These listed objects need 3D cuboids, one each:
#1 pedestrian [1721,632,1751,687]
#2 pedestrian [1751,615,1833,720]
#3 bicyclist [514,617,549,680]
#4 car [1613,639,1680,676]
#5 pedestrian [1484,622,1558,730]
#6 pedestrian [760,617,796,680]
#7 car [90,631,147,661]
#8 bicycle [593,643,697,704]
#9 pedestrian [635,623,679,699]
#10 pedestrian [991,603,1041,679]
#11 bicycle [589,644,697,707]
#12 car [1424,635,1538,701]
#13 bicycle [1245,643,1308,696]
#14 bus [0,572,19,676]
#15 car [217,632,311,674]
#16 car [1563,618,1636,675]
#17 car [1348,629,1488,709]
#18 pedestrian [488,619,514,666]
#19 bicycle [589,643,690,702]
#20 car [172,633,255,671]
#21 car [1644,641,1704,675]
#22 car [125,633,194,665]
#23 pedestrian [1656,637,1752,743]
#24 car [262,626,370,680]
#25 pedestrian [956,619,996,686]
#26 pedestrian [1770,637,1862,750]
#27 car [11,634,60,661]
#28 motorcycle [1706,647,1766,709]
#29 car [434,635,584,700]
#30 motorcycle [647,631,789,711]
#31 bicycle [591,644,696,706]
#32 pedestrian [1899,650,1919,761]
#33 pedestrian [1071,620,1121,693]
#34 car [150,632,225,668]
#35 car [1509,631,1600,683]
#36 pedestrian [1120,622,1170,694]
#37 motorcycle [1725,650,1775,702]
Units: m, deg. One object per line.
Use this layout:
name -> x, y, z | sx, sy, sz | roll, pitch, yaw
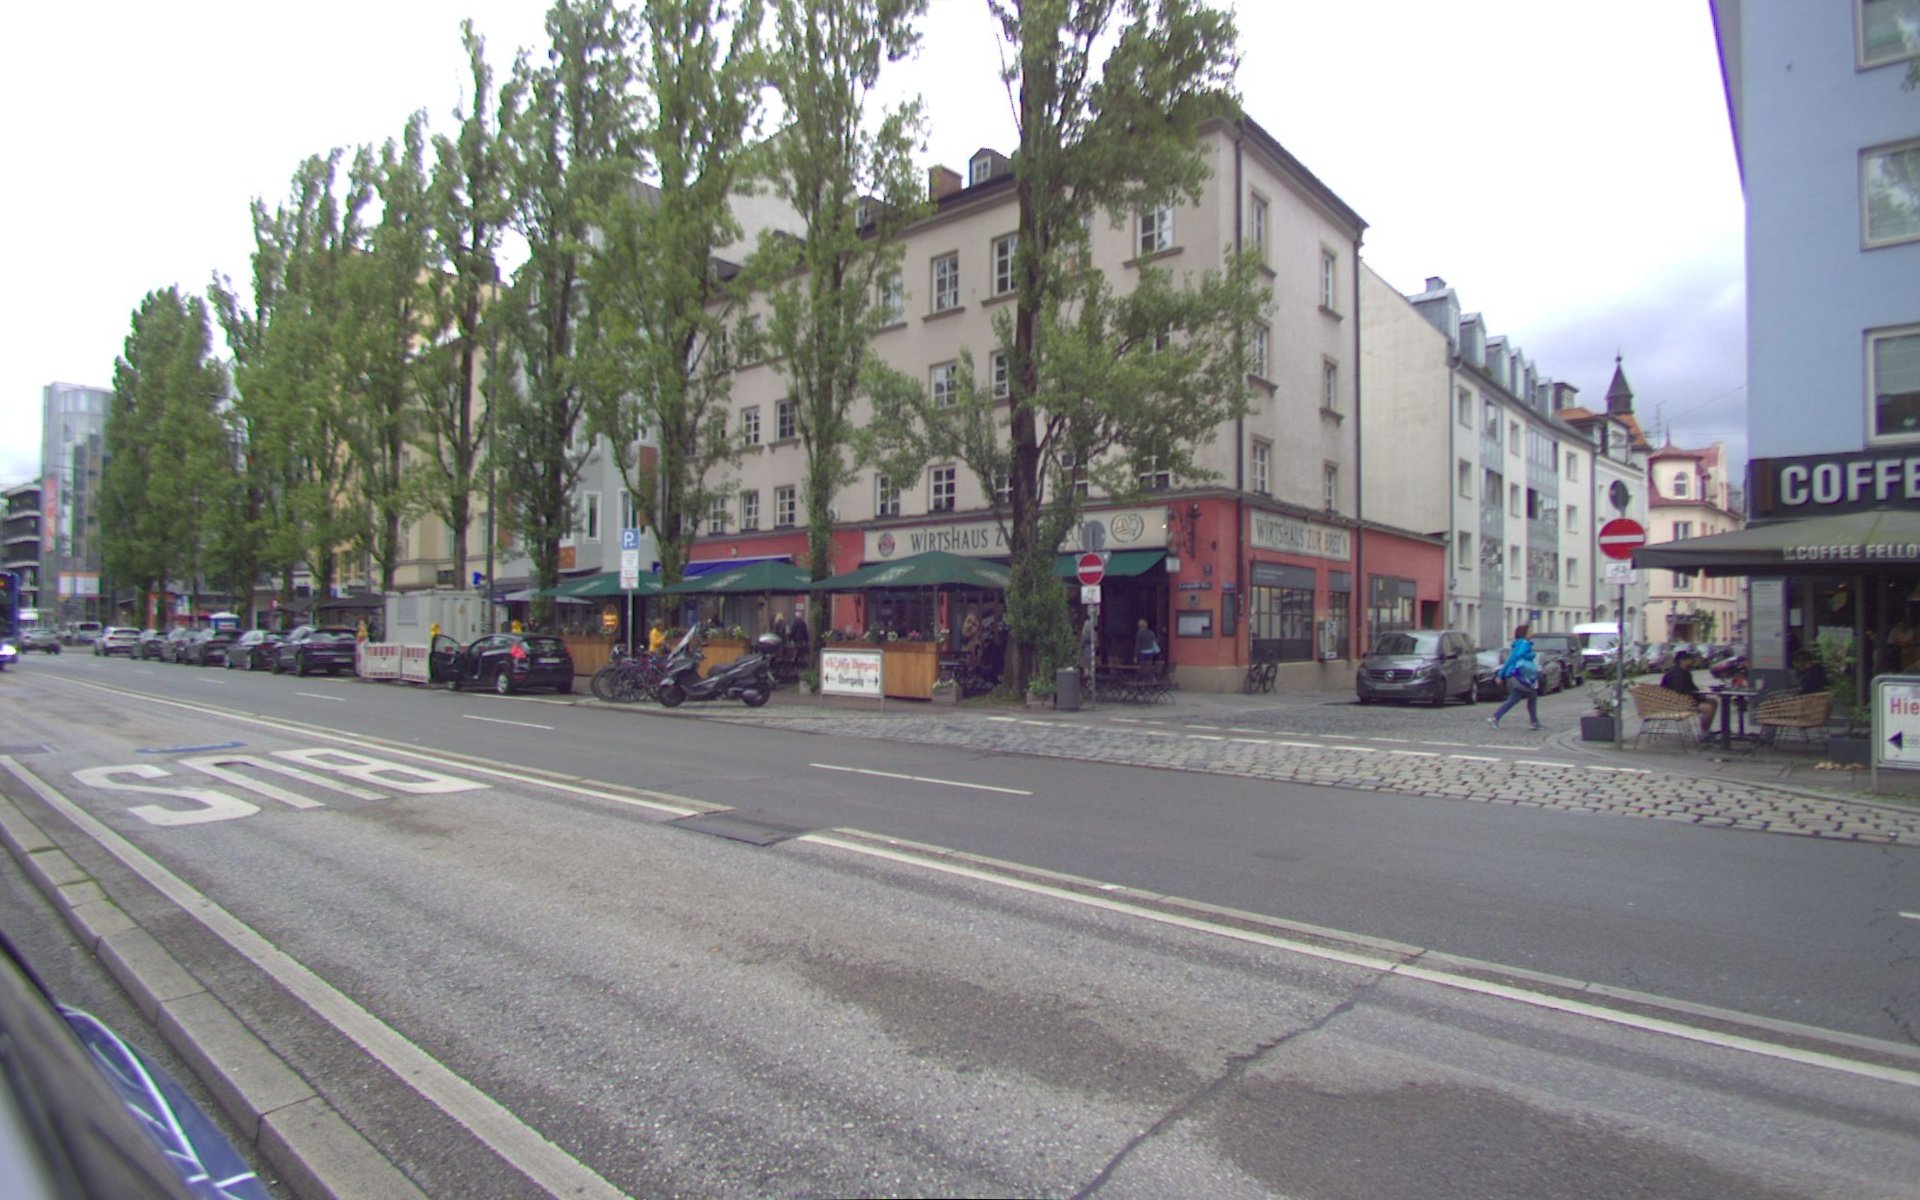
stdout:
pedestrian -> 24.008, 1.831, 31.308 | 0.699, 1.659, 0.856 | -1, -3, 37
pedestrian -> 14.553, 1.160, 17.728 | 0.692, 1.786, 0.947 | 0, -2, 10
bicyclist -> -11.933, 1.332, 28.211 | 0.816, 1.718, 0.598 | -1, -2, 42
car -> 35.222, 2.936, 51.878 | 1.984, 1.780, 4.519 | -2, -4, 45
pedestrian -> 8.900, 1.189, 16.090 | 0.945, 1.659, 0.694 | -1, -2, 25
pedestrian -> -5.743, 1.516, 31.912 | 0.905, 1.941, 0.690 | -2, -3, 44
car -> -46.407, 2.514, 55.775 | 4.103, 1.590, 1.778 | -2, -3, 42
bicycle -> -6.238, 1.454, 20.095 | 1.949, 1.134, 0.283 | -1, 0, -12
pedestrian -> -7.137, 1.423, 23.825 | 0.731, 1.739, 0.691 | -2, -3, 39
pedestrian -> 1.299, 0.948, 23.576 | 0.950, 1.735, 0.690 | -2, -3, 44
bicycle -> -6.084, 1.445, 19.489 | 1.949, 1.134, 0.362 | -1, 0, -12
car -> 15.280, 1.957, 29.553 | 1.982, 1.780, 4.525 | -2, -4, 40
bicycle -> 7.701, 1.652, 24.555 | 0.645, 1.214, 2.317 | -2, -3, 39
bus -> -32.092, 0.770, 31.761 | 10.046, 2.972, 2.661 | -2, -2, 41
car -> -25.524, 1.910, 37.068 | 4.572, 1.451, 1.778 | -2, -3, 42
car -> 28.149, 2.070, 44.465 | 1.982, 2.384, 4.523 | -2, -4, 42
car -> 11.411, 1.669, 25.054 | 1.982, 1.780, 4.525 | -2, -4, 40
pedestrian -> -19.262, 1.772, 42.438 | 0.905, 1.941, 0.690 | -2, -3, 44
bicycle -> -6.566, 1.471, 20.778 | 1.949, 1.134, 0.343 | -1, 0, -12
car -> -30.521, 2.090, 41.342 | 4.572, 1.451, 1.778 | -2, -3, 42
car -> 39.775, 3.218, 56.320 | 1.984, 1.780, 4.519 | -2, -4, 45
car -> -38.591, 2.336, 48.762 | 4.572, 1.451, 1.778 | -2, -3, 42
pedestrian -> 10.107, 1.192, 13.754 | 0.950, 1.373, 0.690 | -2, -3, 44
car -> -21.095, 1.698, 33.078 | 4.572, 1.625, 1.778 | -2, -3, 42
pedestrian -> 0.389, 1.309, 25.297 | 0.732, 1.636, 0.690 | -2, -3, 44
pedestrian -> 10.870, 1.153, 12.855 | 0.819, 1.373, 0.690 | -2, -3, 44
car -> -54.795, 2.812, 59.969 | 4.075, 1.553, 1.695 | -2, -4, 42
motorcycle -> 16.408, 1.613, 21.371 | 0.738, 1.213, 2.729 | -4, -5, 42
car -> -10.925, 1.577, 24.454 | 3.780, 1.433, 1.739 | -1, -3, 38
motorcycle -> -4.423, 1.277, 18.558 | 2.426, 1.425, 0.744 | 0, -2, 8
bicycle -> -6.178, 1.453, 19.818 | 1.949, 1.134, 0.283 | -1, 0, -12
pedestrian -> 10.849, 1.158, 11.119 | 0.699, 1.192, 0.807 | -2, -3, 39
pedestrian -> 3.167, 1.314, 23.622 | 0.689, 1.659, 0.930 | 2, -3, -44
car -> -34.396, 2.213, 45.033 | 4.572, 1.515, 1.778 | -2, -3, 42
car -> 21.817, 2.092, 37.046 | 2.116, 1.780, 4.525 | -2, -4, 40
pedestrian -> 4.340, 1.341, 23.757 | 0.689, 1.659, 0.930 | 2, -3, -44
motorcycle -> 19.376, 1.835, 24.803 | 0.738, 1.213, 2.729 | -4, -5, 42
